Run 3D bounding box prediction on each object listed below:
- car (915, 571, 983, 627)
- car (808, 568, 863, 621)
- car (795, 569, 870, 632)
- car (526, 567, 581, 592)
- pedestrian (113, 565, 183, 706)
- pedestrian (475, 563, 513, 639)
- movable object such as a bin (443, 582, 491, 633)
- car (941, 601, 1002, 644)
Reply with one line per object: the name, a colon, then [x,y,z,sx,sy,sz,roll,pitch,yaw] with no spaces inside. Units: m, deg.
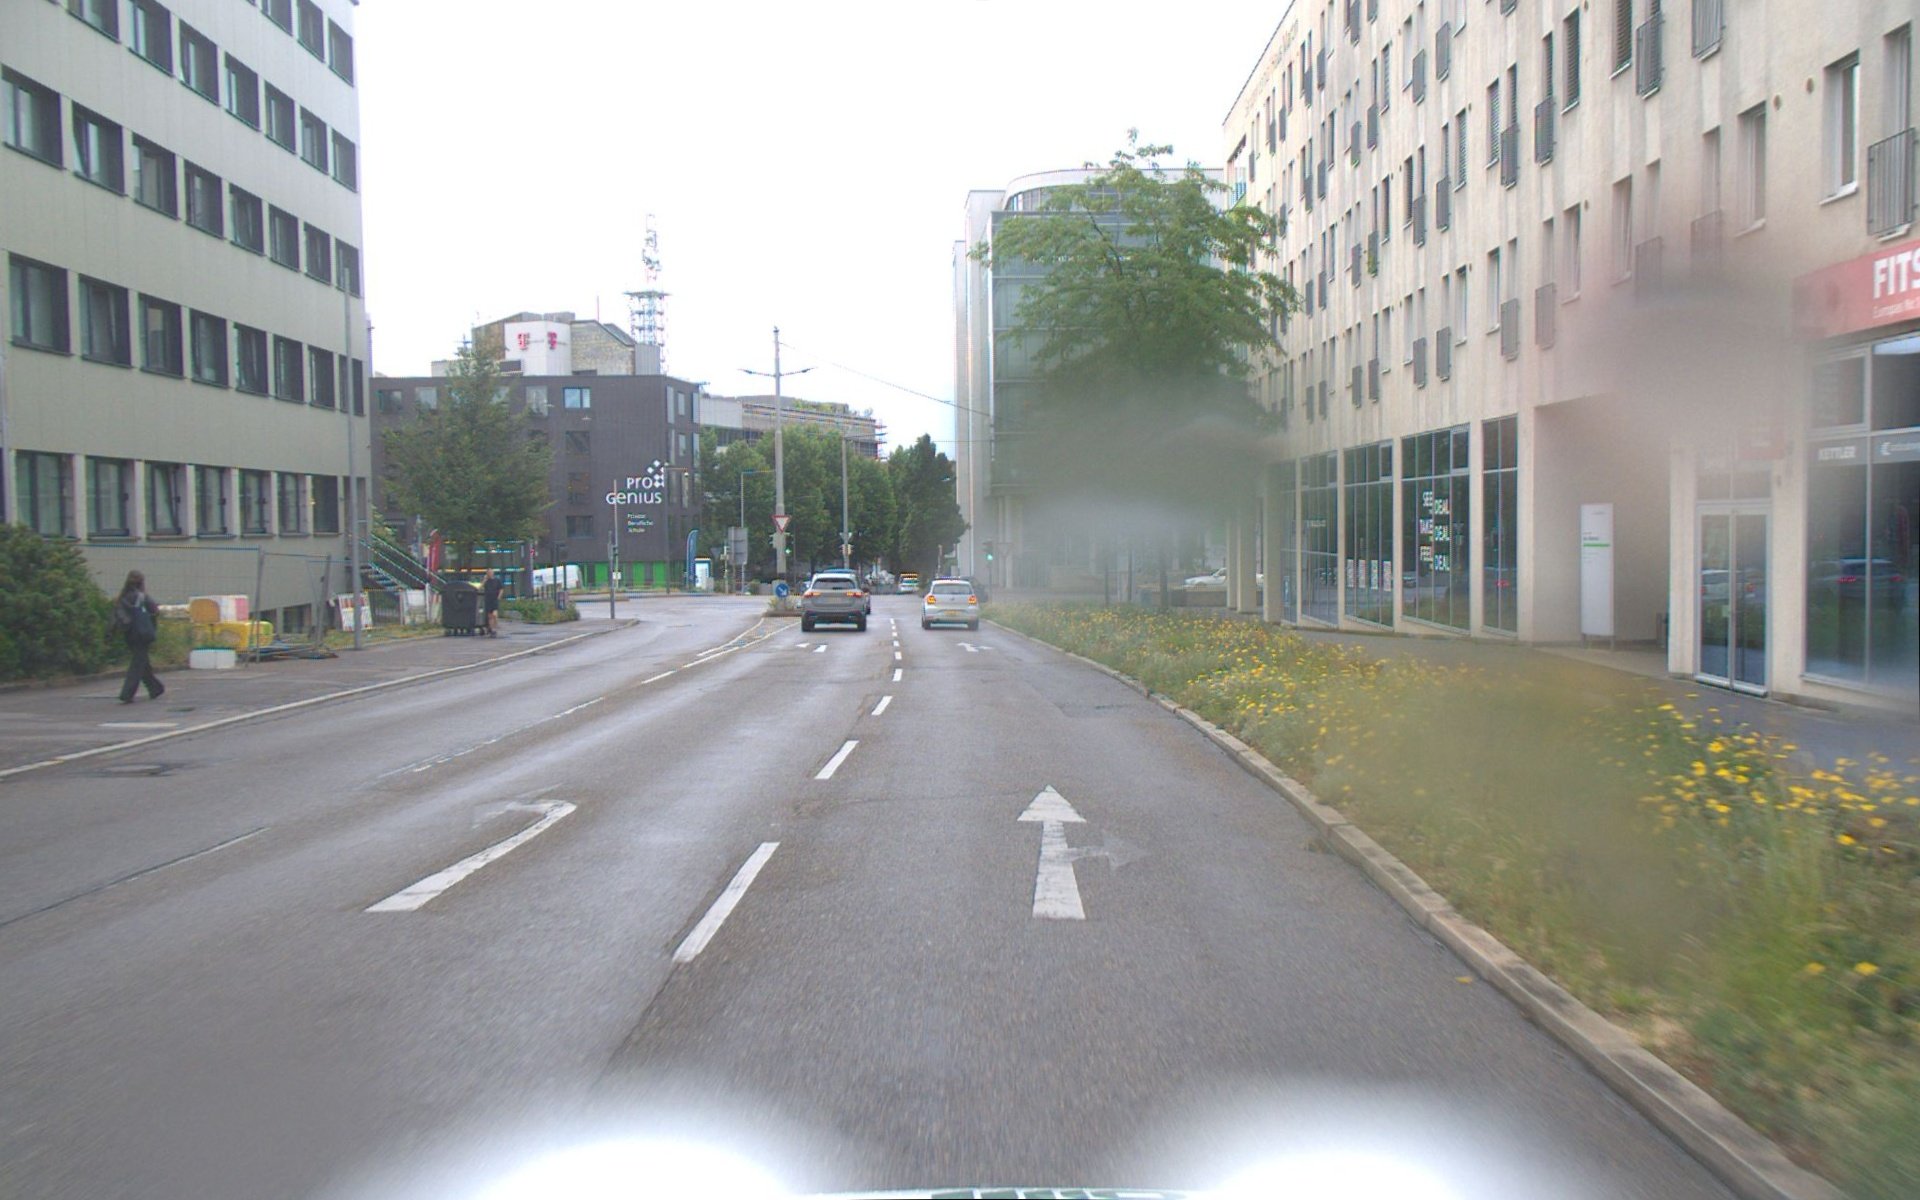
car: [-0.306,-0.068,50.434,1.952,1.604,3.997,-1,1,1]
car: [-4.632,-0.199,61.004,1.955,1.850,3.996,0,0,-5]
car: [-3.683,0.007,48.392,2.099,1.758,3.997,0,0,-3]
car: [-33.251,-1.658,135.452,3.902,2.049,2.002,0,0,10]
pedestrian: [-10.378,0.442,21.125,0.721,1.738,0.894,-1,-1,-30]
pedestrian: [-12.337,0.016,43.831,0.943,1.989,0.775,0,0,-16]
movable object such as a bin: [-13.229,0.186,44.378,1.185,1.344,0.871,-1,1,-15]
car: [0.389,0.807,61.179,1.954,1.534,3.997,0,0,-4]
